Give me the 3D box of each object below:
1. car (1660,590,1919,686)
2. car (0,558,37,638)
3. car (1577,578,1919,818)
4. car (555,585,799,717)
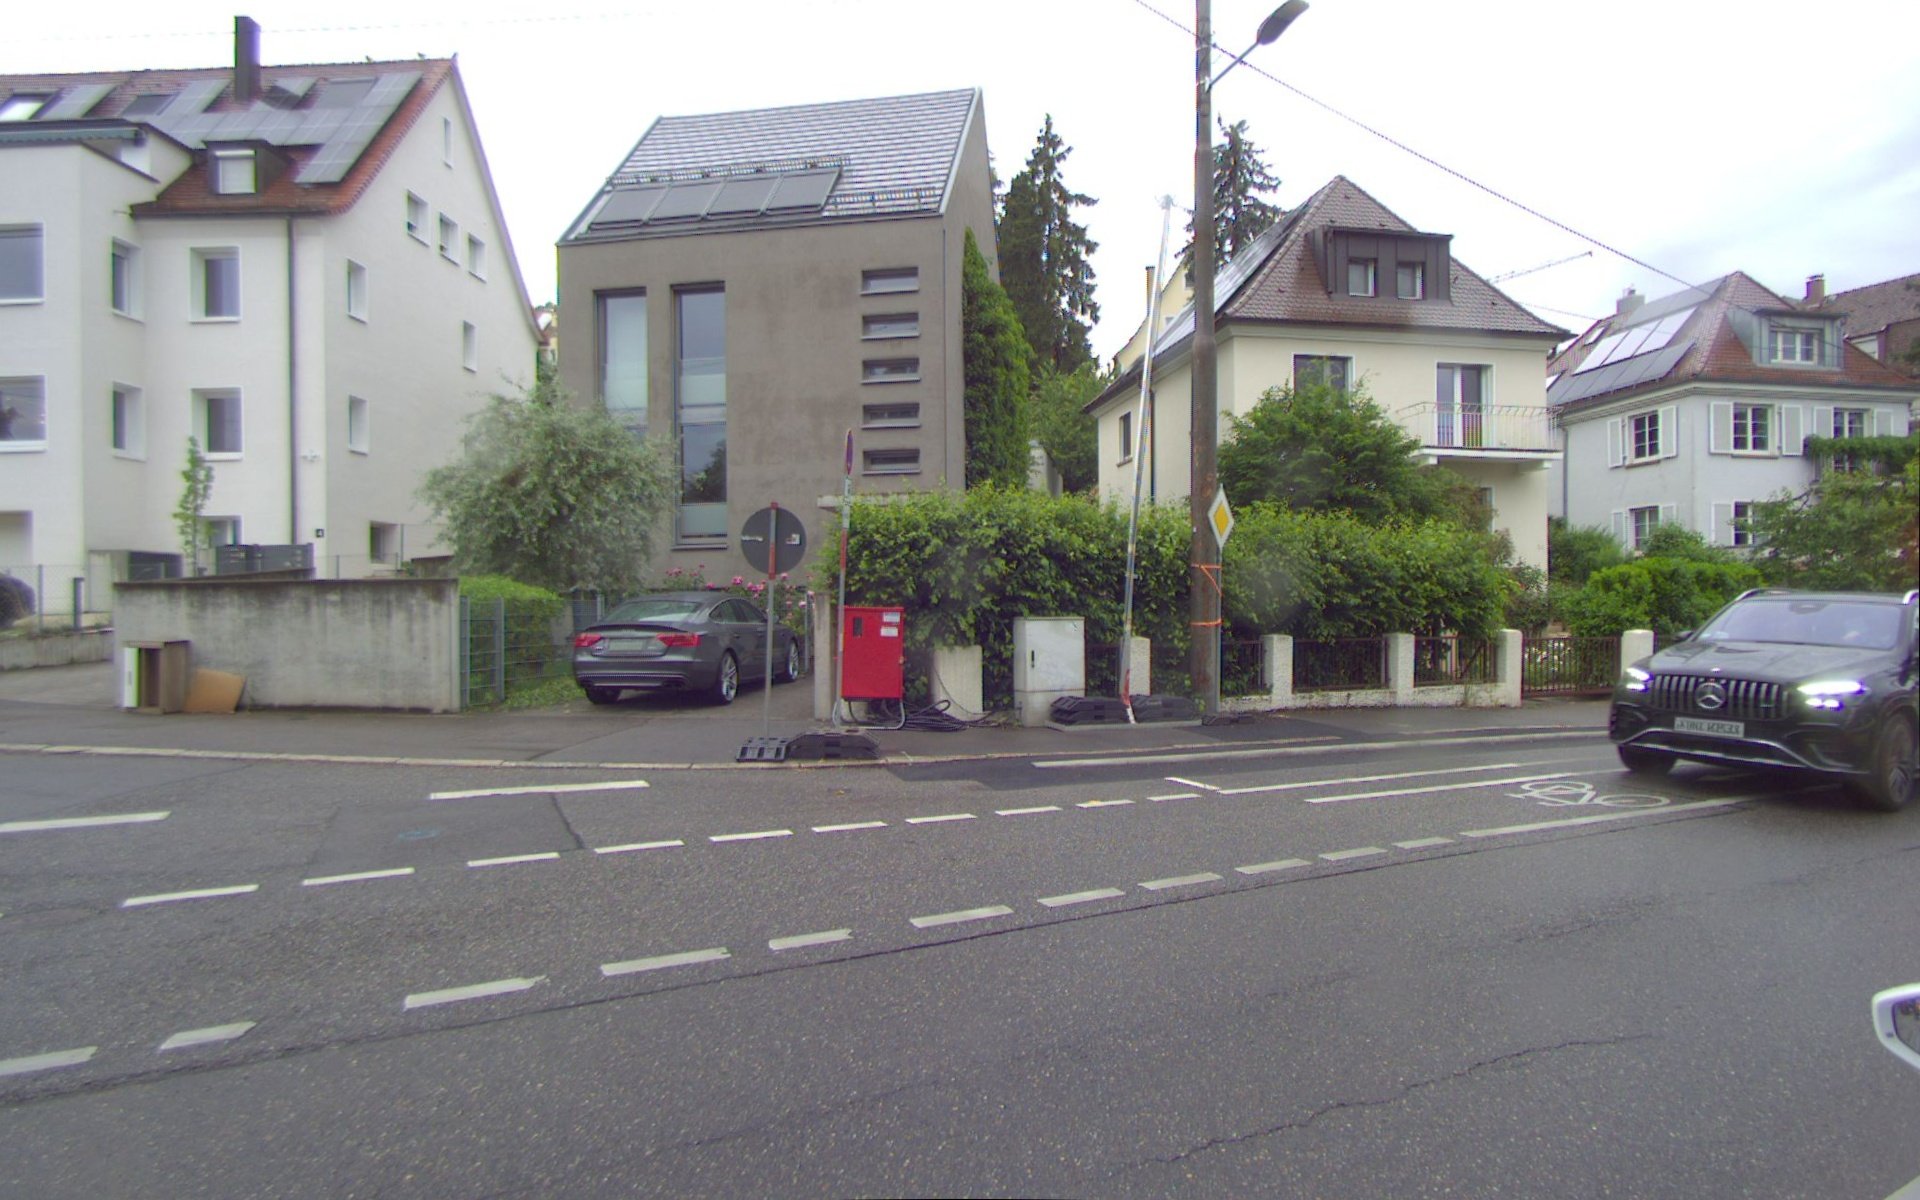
[{"bbox_3d":[19.603,0.815,23.923,1.870,2.033,4.628,1,0,-18],"label":"car"},{"bbox_3d":[-16.724,0.049,15.179,1.576,1.298,4.008,2,4,6],"label":"car"},{"bbox_3d":[8.039,0.740,9.421,4.500,1.771,1.969,1,0,-31],"label":"car"},{"bbox_3d":[-3.601,0.562,13.586,1.740,1.506,4.002,0,1,7],"label":"car"}]
